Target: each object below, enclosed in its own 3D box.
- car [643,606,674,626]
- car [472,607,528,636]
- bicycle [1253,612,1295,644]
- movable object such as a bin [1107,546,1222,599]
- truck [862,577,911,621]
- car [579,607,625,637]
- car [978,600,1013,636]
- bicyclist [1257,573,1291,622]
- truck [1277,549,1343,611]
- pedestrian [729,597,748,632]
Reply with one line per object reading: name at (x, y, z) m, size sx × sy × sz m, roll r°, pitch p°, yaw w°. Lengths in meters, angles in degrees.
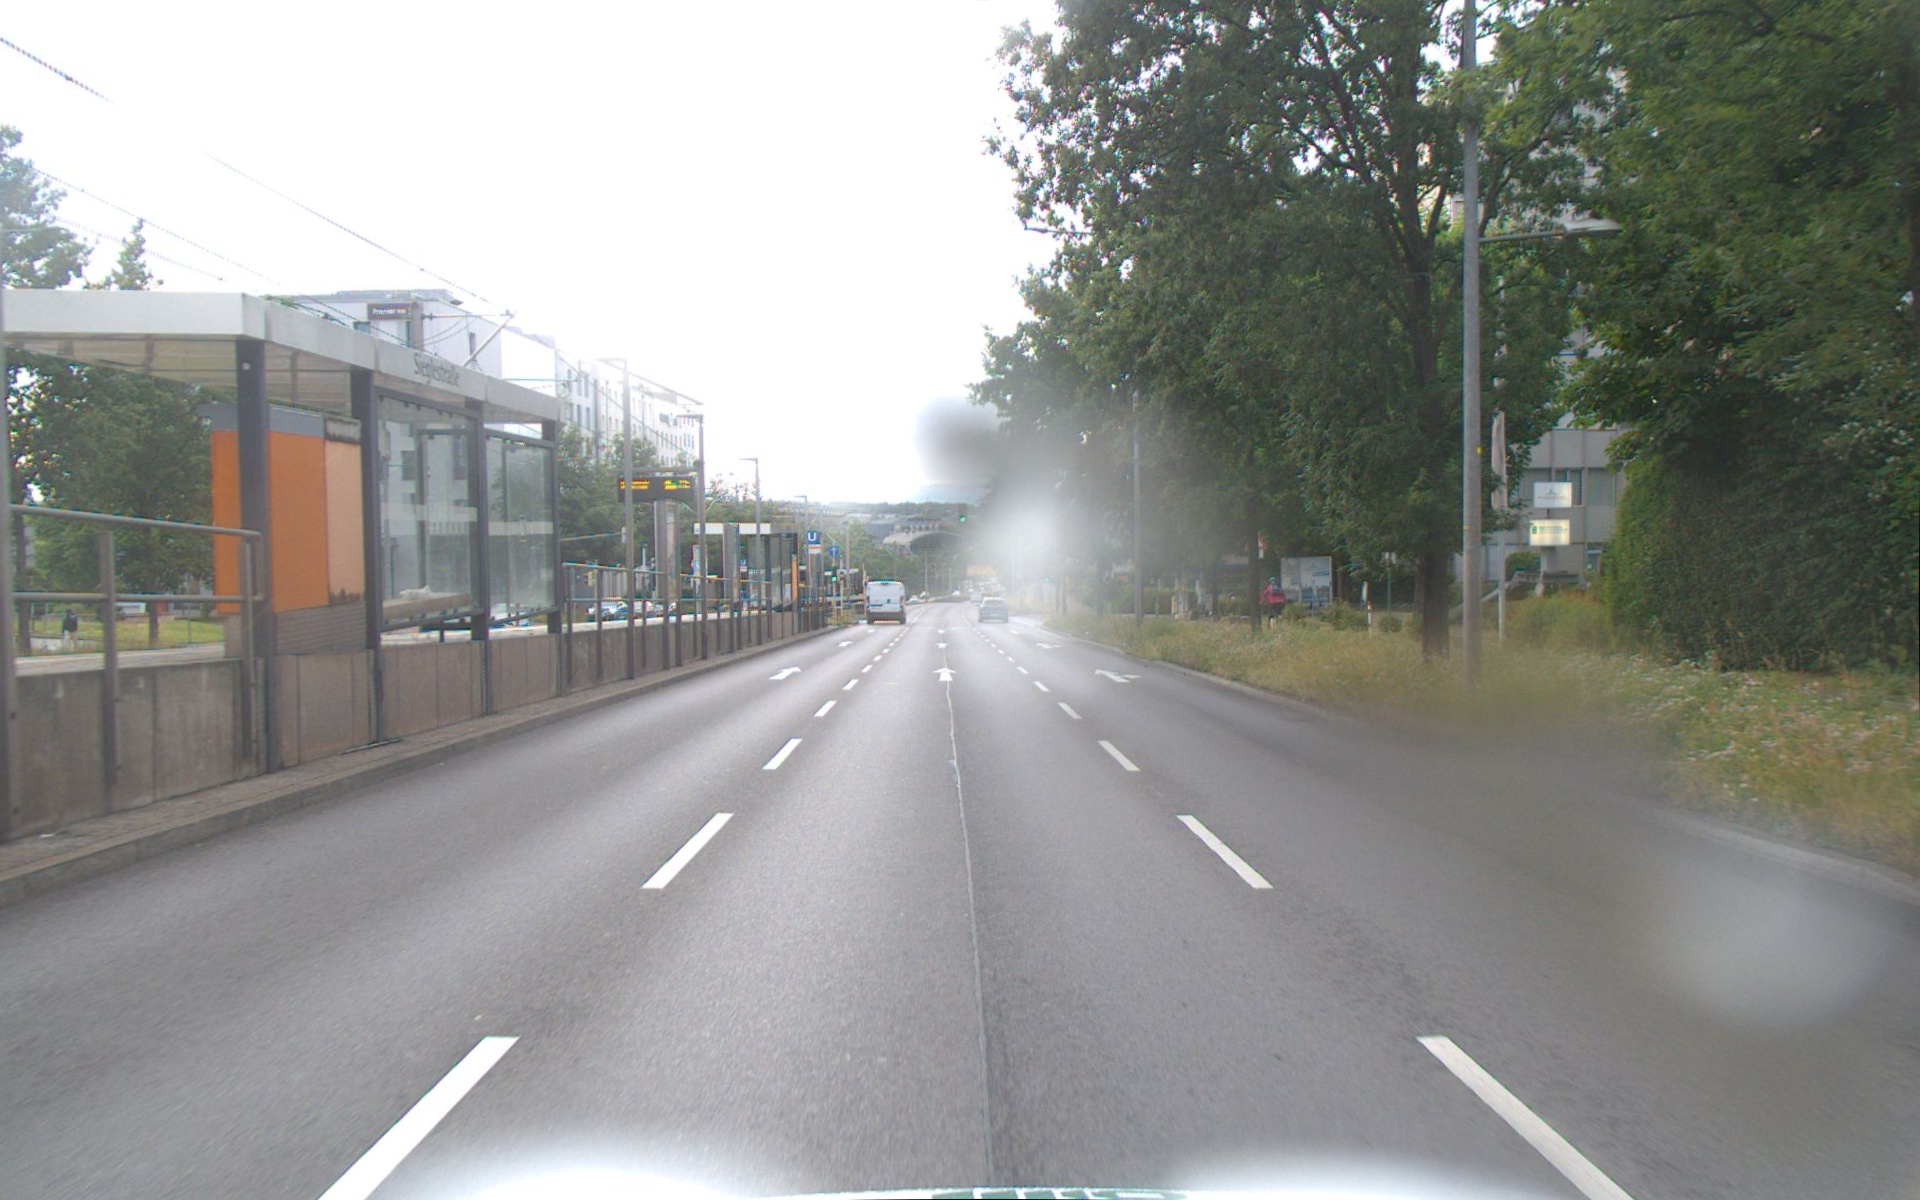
car at (-22.754, 1.169, 124.771) m, size 1.693 × 1.448 × 3.778 m, roll -1°, pitch 0°, yaw -1°
car at (-25.730, 1.191, 92.624) m, size 1.954 × 1.544 × 4.705 m, roll 1°, pitch 0°, yaw -3°
bicycle at (8.551, 0.753, 45.133) m, size 0.654 × 0.823 × 2.318 m, roll 1°, pitch 0°, yaw -1°
movable object such as a bin at (22.035, -2.969, 178.729) m, size 11.892 × 5.353 × 3.789 m, roll -1°, pitch -1°, yaw 0°
truck at (-3.979, -0.062, 90.334) m, size 2.311 × 2.301 × 5.306 m, roll 1°, pitch 0°, yaw 1°
car at (-22.465, 1.370, 103.855) m, size 1.953 × 1.806 × 4.388 m, roll -1°, pitch 0°, yaw -1°
car at (2.132, 1.053, 97.924) m, size 1.952 × 2.049 × 3.935 m, roll 1°, pitch 0°, yaw 3°
bicyclist at (8.569, -0.070, 45.131) m, size 0.642 × 1.311 × 1.219 m, roll 1°, pitch 0°, yaw -1°
truck at (14.894, -0.828, 70.510) m, size 1.712 × 2.562 × 3.997 m, roll 1°, pitch 0°, yaw -4°
pedestrian at (-10.505, 0.680, 78.471) m, size 0.693 × 1.679 × 0.643 m, roll 0°, pitch 0°, yaw -29°
